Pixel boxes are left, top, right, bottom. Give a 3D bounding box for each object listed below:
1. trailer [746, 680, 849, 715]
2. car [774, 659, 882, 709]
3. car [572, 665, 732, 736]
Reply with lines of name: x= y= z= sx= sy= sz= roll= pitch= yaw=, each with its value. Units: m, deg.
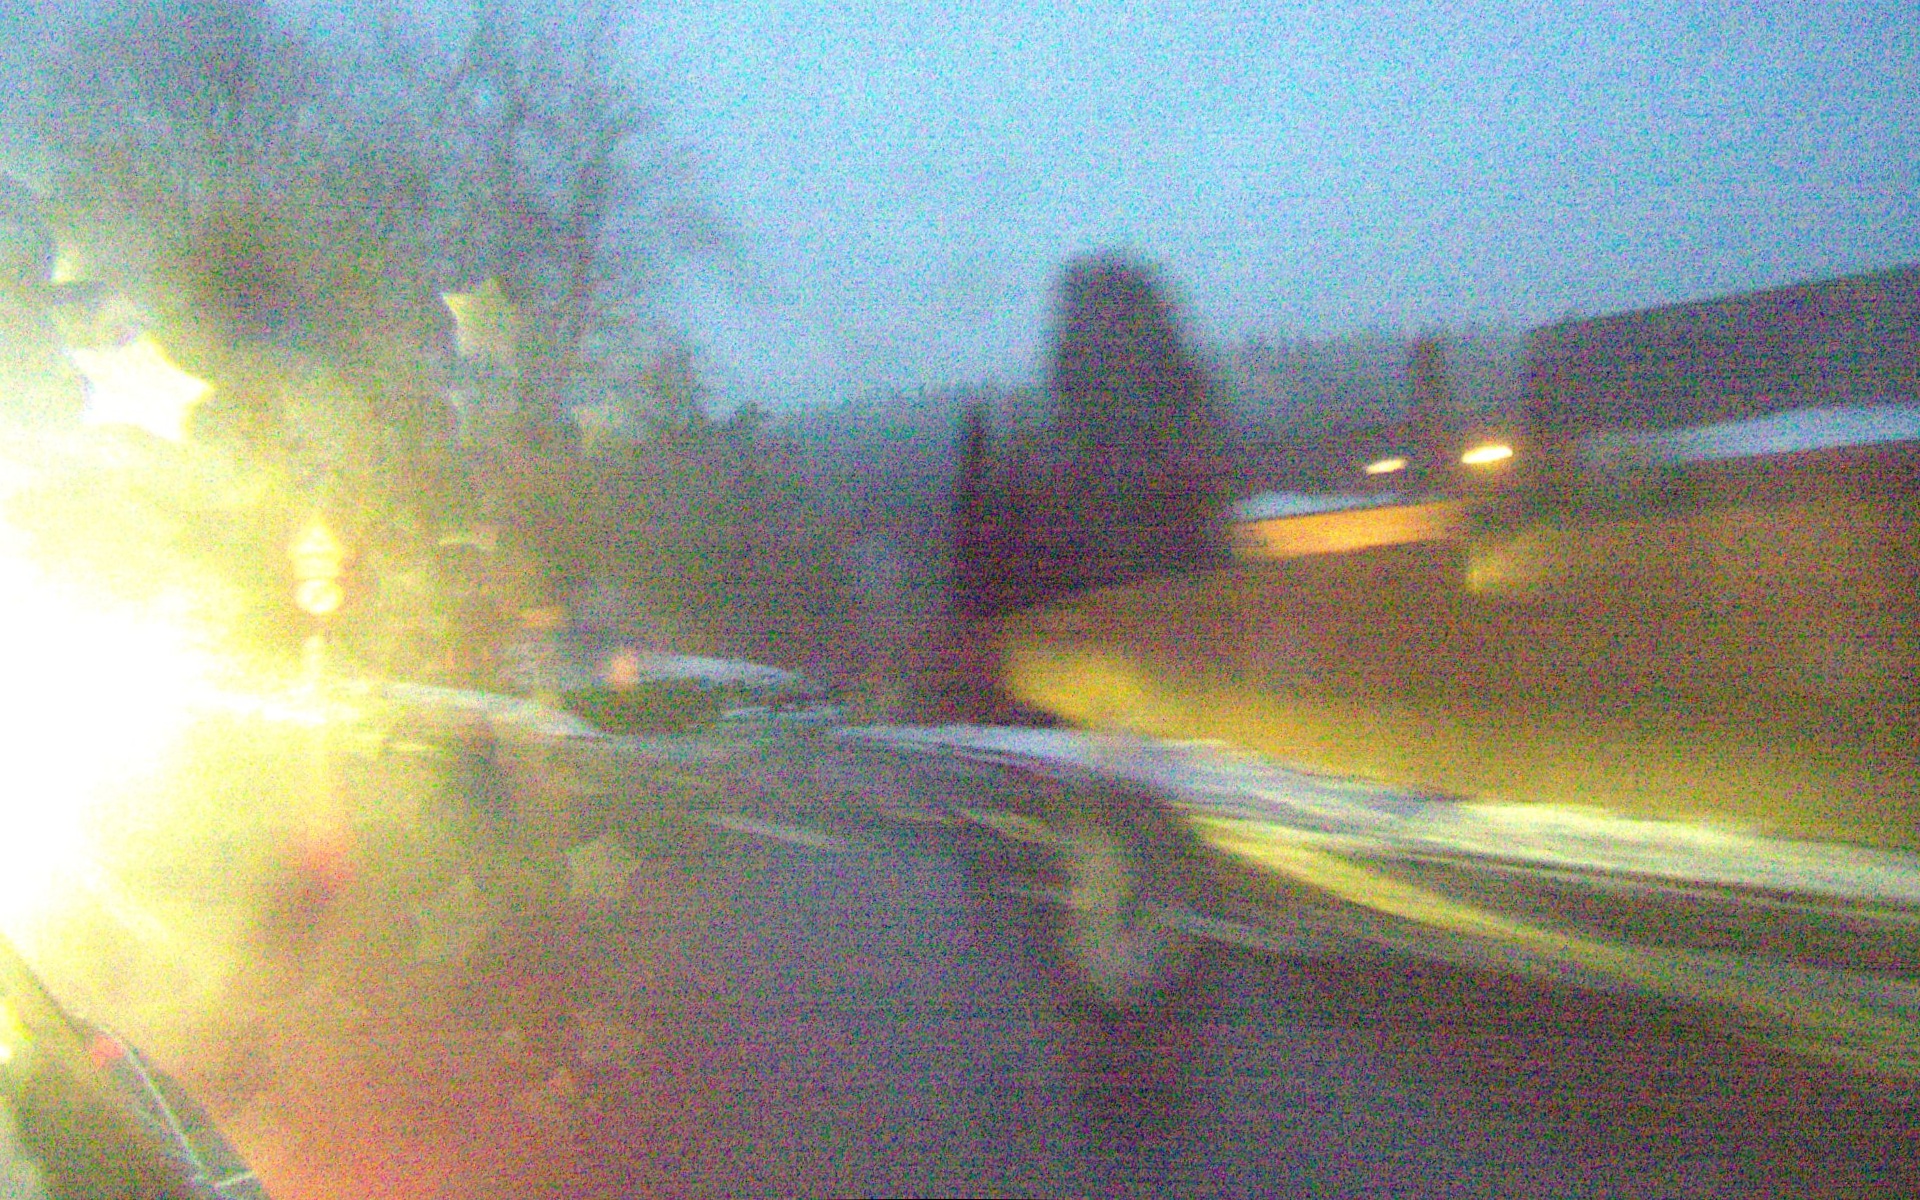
trailer: x=-5.921 y=3.546 z=36.824 sx=3.368 sy=1.087 sz=1.753 roll=-5 pitch=-4 yaw=33
car: x=-5.310 y=3.363 z=40.517 sx=3.988 sy=1.844 sz=1.953 roll=-4 pitch=-4 yaw=33
car: x=-8.798 y=2.871 z=29.016 sx=3.965 sy=1.844 sz=1.965 roll=-3 pitch=-4 yaw=17
